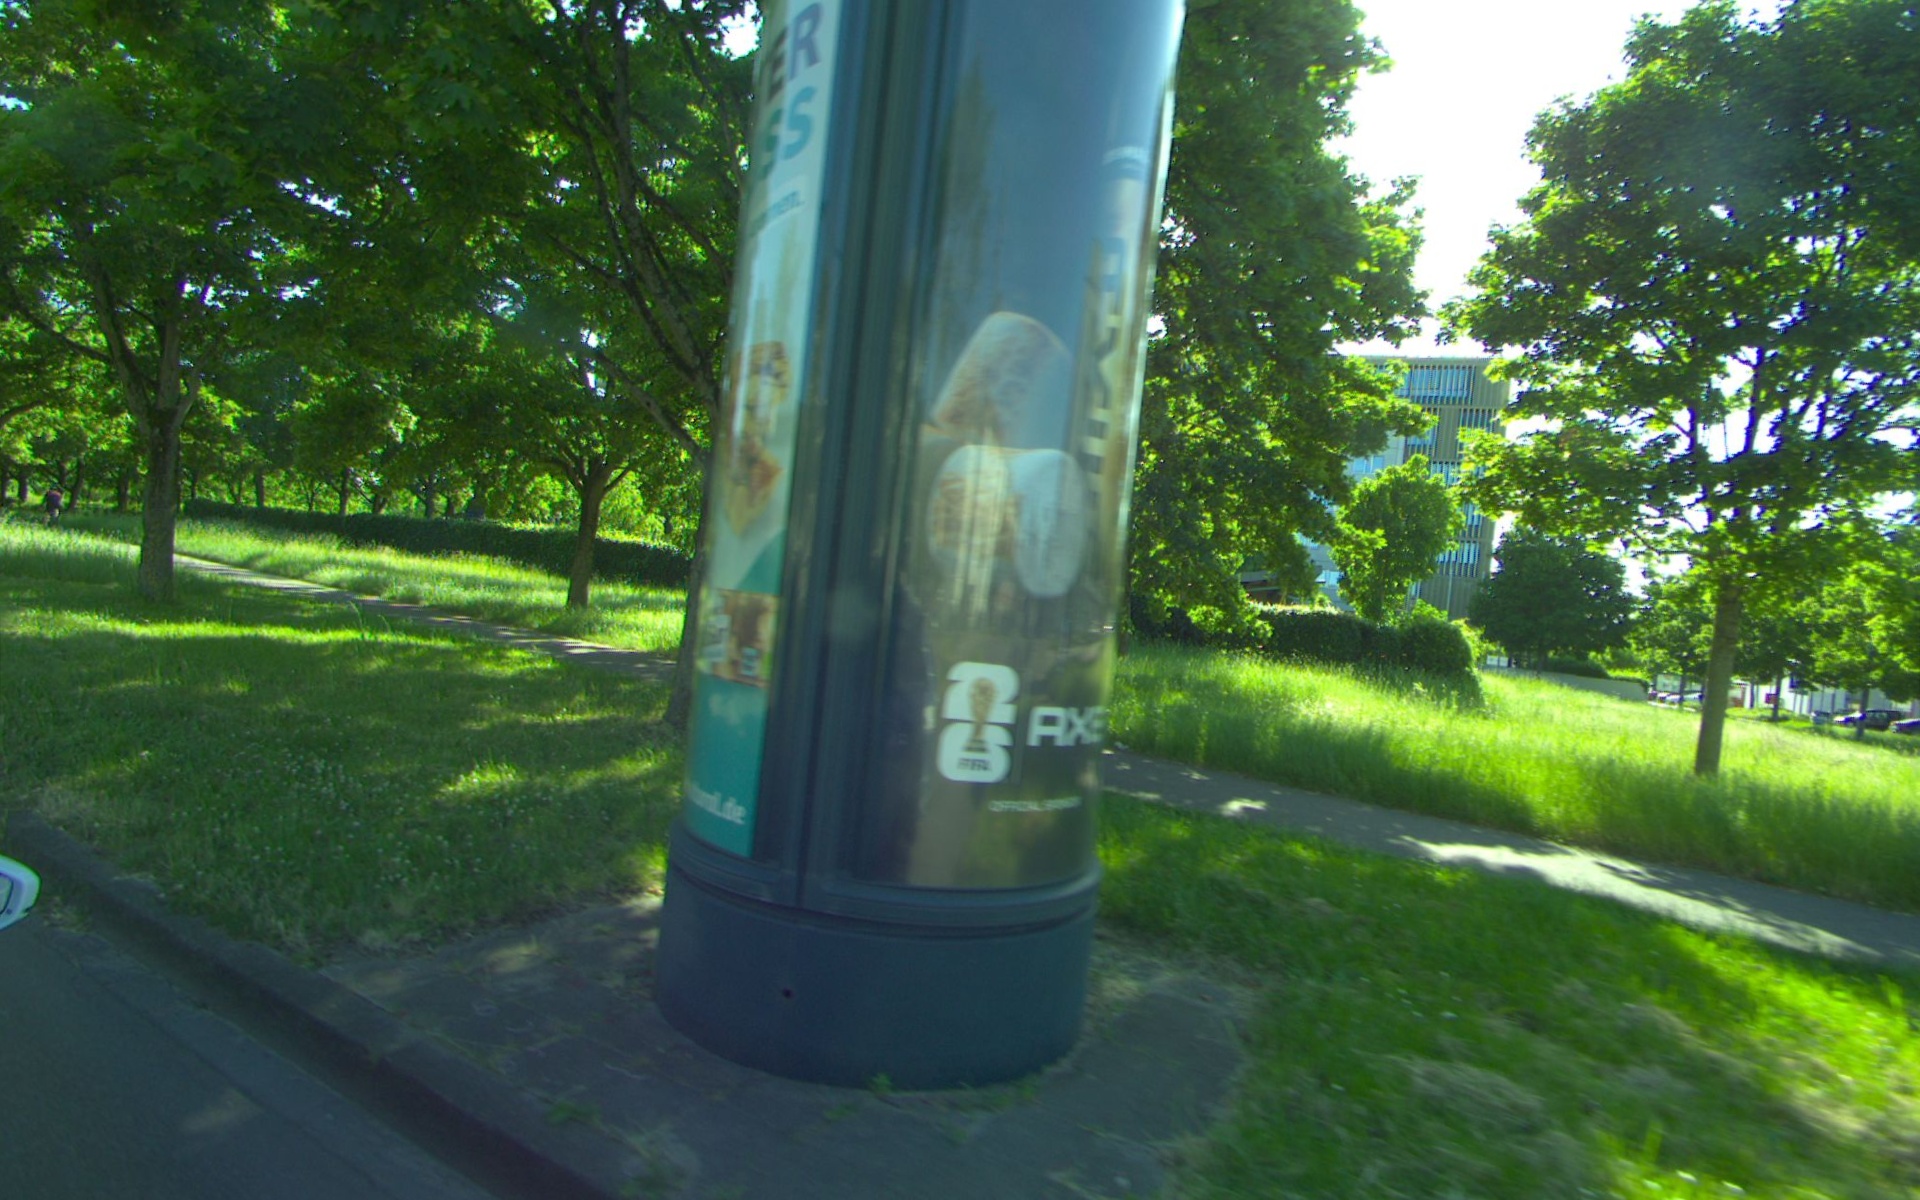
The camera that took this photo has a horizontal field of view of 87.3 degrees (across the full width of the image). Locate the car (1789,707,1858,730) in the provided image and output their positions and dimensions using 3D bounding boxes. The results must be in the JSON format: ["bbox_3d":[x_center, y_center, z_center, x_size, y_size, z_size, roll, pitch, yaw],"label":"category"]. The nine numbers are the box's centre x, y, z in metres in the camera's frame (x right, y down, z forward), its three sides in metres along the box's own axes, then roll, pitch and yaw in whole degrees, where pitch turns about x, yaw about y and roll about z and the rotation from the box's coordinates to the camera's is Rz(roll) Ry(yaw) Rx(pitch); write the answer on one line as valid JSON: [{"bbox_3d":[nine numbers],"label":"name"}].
[{"bbox_3d":[78.873,10.820,91.963,4.208,1.437,1.919,7,0,21],"label":"car"}]

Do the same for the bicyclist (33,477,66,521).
[{"bbox_3d":[-32.864,-3.644,36.325,0.786,1.468,0.835,5,1,-43],"label":"bicyclist"}]

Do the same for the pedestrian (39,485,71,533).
[{"bbox_3d":[-36.527,-3.684,40.594,0.782,1.825,0.715,7,0,39],"label":"pedestrian"}]

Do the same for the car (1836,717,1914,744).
[{"bbox_3d":[75.886,10.835,83.505,4.208,1.437,1.919,7,0,21],"label":"car"}]

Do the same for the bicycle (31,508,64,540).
[{"bbox_3d":[-32.967,-2.752,36.363,0.791,1.060,2.117,6,0,-42],"label":"bicycle"}]
